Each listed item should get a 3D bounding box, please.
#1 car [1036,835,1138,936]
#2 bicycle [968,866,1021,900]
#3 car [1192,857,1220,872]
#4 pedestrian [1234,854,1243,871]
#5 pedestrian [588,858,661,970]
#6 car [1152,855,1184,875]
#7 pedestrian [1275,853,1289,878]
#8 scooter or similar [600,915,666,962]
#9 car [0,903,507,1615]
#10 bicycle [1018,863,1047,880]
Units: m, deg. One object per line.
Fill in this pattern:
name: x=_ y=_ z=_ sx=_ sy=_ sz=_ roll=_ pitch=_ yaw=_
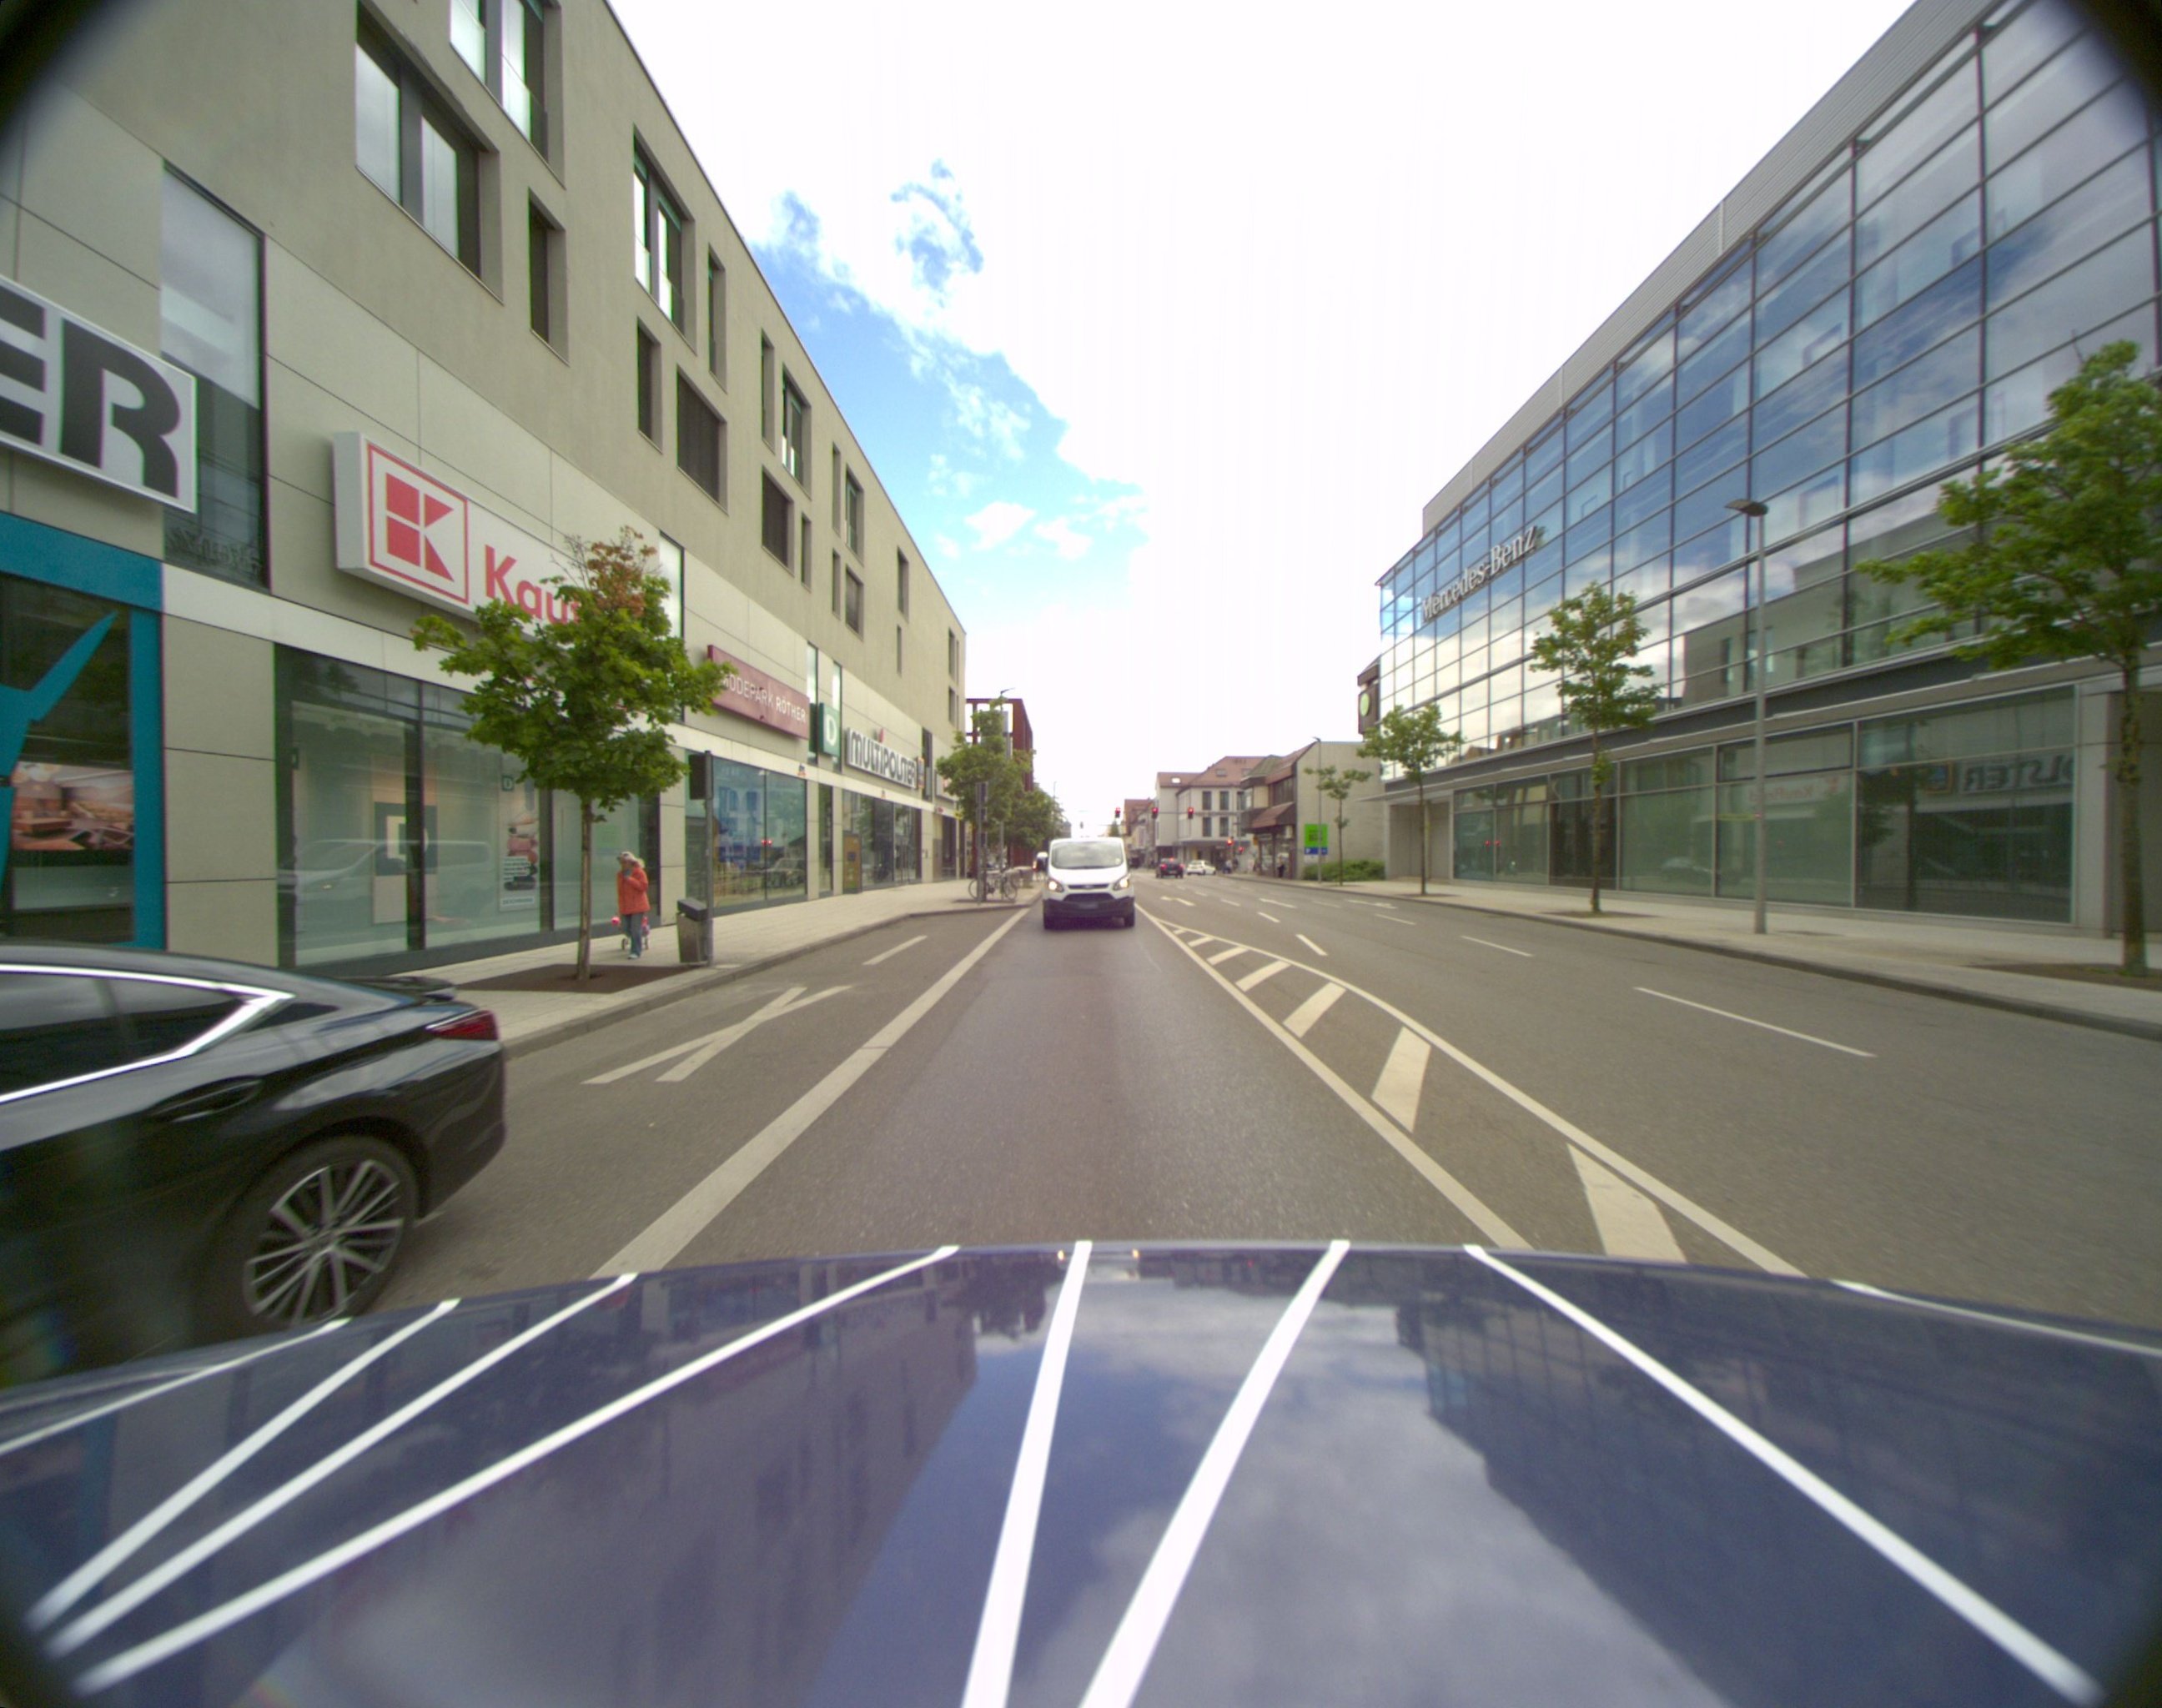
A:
car: x=0.151 y=0.619 z=17.857 sx=2.000 sy=1.976 sz=5.000 roll=-2 pitch=1 yaw=0
bicycle: x=-2.949 y=0.992 z=25.877 sx=1.745 sy=1.093 sz=0.561 roll=2 pitch=0 yaw=-7
car: x=12.225 y=0.996 z=74.117 sx=1.934 sy=1.458 sz=4.006 roll=0 pitch=0 yaw=21
pedestrian: x=14.504 y=0.773 z=70.118 sx=0.555 sy=1.507 sz=0.582 roll=0 pitch=1 yaw=-32
pedestrian: x=-6.596 y=0.840 z=11.004 sx=0.590 sy=1.558 sz=0.732 roll=1 pitch=1 yaw=1
car: x=6.572 y=0.786 z=57.866 sx=1.803 sy=1.458 sz=3.999 roll=0 pitch=0 yaw=-3
pedestrian: x=12.859 y=0.712 z=48.676 sx=0.702 sy=1.614 sz=0.693 roll=0 pitch=1 yaw=0
scooter or similar: x=-6.895 y=1.290 z=11.731 sx=0.552 sy=0.630 sz=0.767 roll=1 pitch=0 yaw=1
car: x=-3.397 y=1.027 z=0.879 sx=1.741 sy=1.533 sz=4.790 roll=-2 pitch=1 yaw=0
bicycle: x=-2.952 y=1.043 z=45.907 sx=1.745 sy=1.015 sz=0.451 roll=1 pitch=0 yaw=-6
